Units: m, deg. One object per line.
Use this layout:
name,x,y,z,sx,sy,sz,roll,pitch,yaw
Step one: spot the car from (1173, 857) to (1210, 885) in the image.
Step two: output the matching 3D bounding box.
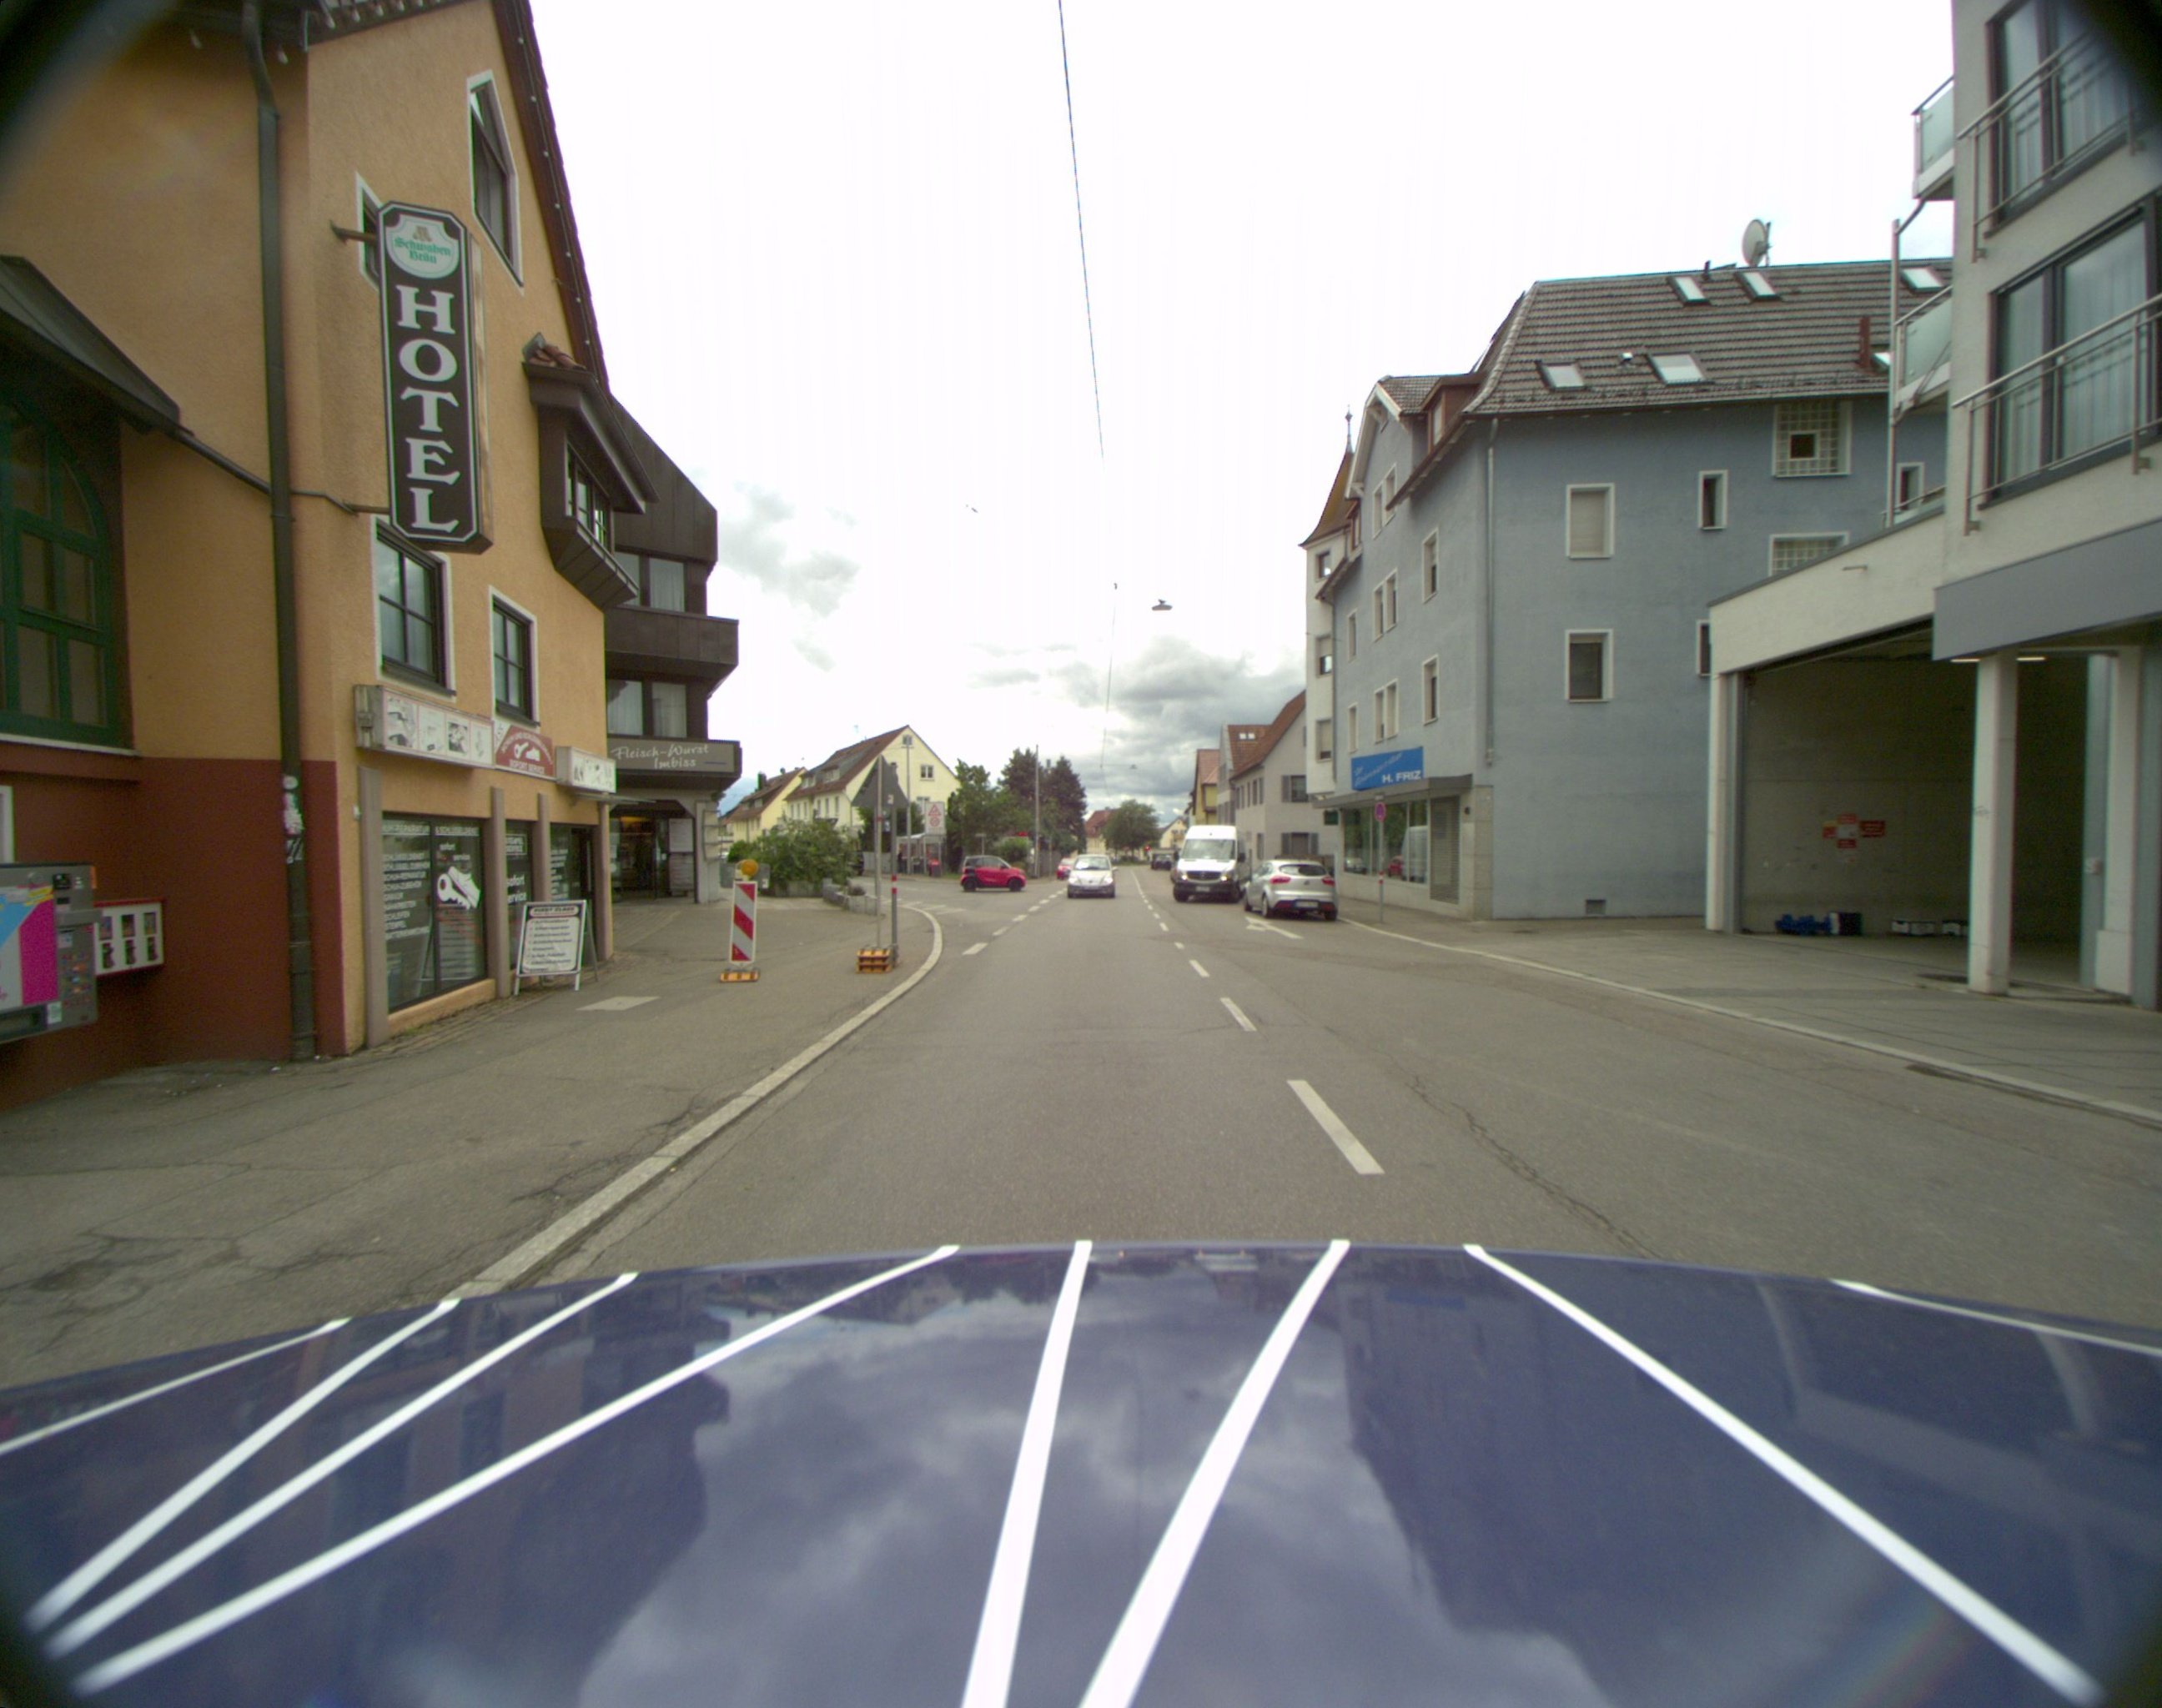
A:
car,6.407,0.942,44.466,1.863,1.465,4.354,2,0,5

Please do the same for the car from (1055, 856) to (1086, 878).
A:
car,-0.676,0.882,52.576,1.718,1.472,4.001,0,0,5

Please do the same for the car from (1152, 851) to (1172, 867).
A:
car,9.758,0.545,91.630,2.111,1.838,4.353,0,0,3

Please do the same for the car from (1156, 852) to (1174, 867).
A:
car,9.378,0.604,84.790,1.717,1.559,4.353,0,0,3

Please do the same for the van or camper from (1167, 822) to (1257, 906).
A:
van or camper,4.771,0.297,26.786,2.322,2.592,6.216,0,0,17

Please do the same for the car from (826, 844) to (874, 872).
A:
car,-16.105,0.273,52.777,2.004,1.866,4.381,0,0,-34

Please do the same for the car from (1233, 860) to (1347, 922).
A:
car,5.247,0.871,19.642,1.802,1.403,3.999,0,0,-1

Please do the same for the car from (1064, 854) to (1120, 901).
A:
car,0.475,0.794,27.811,1.857,1.547,4.353,0,0,3

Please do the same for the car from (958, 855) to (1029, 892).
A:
car,-3.761,0.797,32.568,2.939,1.511,1.819,0,0,-8
